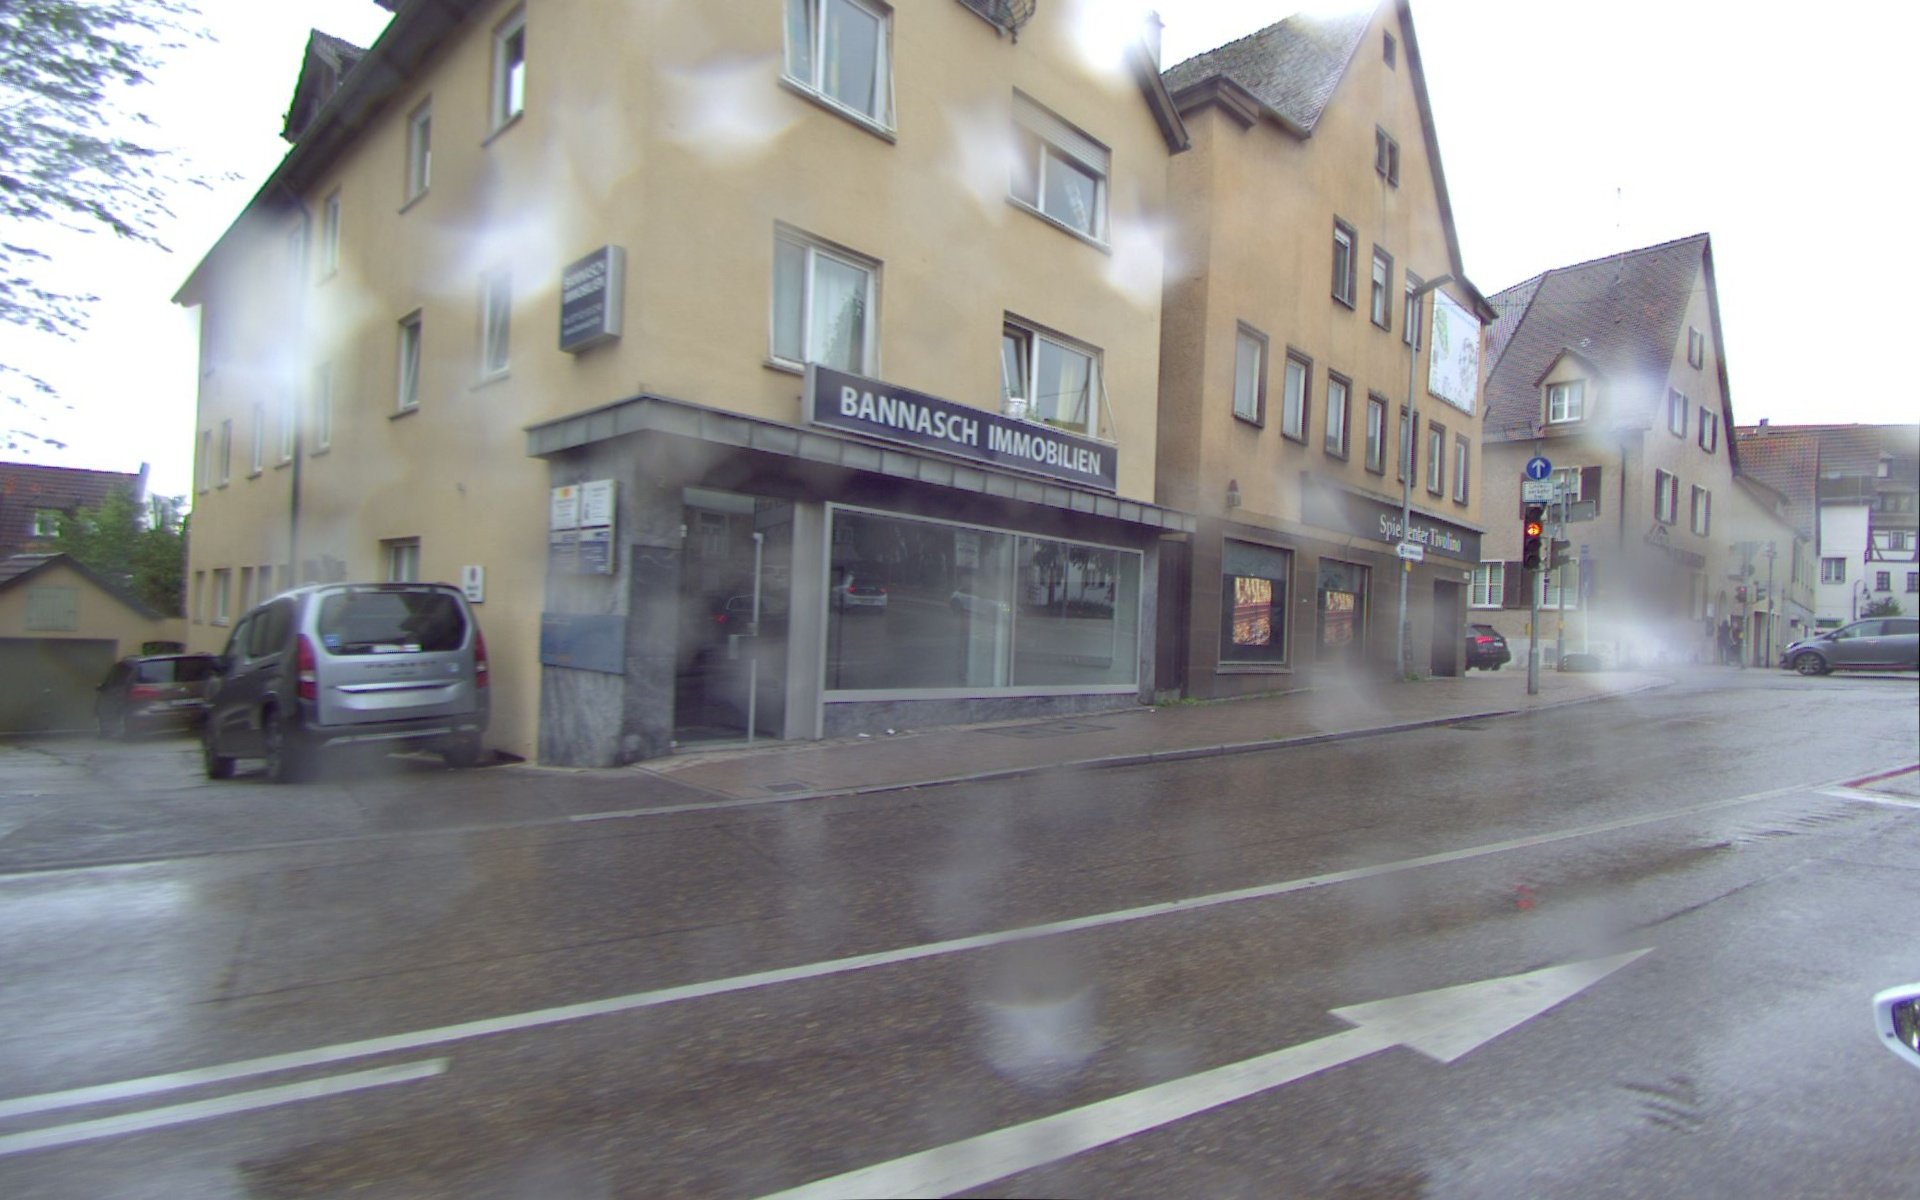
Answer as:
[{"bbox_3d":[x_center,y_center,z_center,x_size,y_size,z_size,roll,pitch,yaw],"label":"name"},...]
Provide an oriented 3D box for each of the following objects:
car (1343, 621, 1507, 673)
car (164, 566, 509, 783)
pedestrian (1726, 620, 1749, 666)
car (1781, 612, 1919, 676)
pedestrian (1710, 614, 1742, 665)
[{"bbox_3d":[15.623,1.605,33.954,1.815,1.609,4.695,1,-3,-40],"label":"car"},{"bbox_3d":[-6.946,0.863,10.918,4.868,1.848,1.952,-7,-5,43],"label":"car"},{"bbox_3d":[30.192,1.667,38.991,0.532,1.751,0.550,3,-1,-35],"label":"pedestrian"},{"bbox_3d":[22.855,1.082,25.101,1.522,1.496,3.353,0,-2,-39],"label":"car"},{"bbox_3d":[28.763,1.492,37.731,0.785,1.854,0.713,-3,-3,31],"label":"pedestrian"}]
